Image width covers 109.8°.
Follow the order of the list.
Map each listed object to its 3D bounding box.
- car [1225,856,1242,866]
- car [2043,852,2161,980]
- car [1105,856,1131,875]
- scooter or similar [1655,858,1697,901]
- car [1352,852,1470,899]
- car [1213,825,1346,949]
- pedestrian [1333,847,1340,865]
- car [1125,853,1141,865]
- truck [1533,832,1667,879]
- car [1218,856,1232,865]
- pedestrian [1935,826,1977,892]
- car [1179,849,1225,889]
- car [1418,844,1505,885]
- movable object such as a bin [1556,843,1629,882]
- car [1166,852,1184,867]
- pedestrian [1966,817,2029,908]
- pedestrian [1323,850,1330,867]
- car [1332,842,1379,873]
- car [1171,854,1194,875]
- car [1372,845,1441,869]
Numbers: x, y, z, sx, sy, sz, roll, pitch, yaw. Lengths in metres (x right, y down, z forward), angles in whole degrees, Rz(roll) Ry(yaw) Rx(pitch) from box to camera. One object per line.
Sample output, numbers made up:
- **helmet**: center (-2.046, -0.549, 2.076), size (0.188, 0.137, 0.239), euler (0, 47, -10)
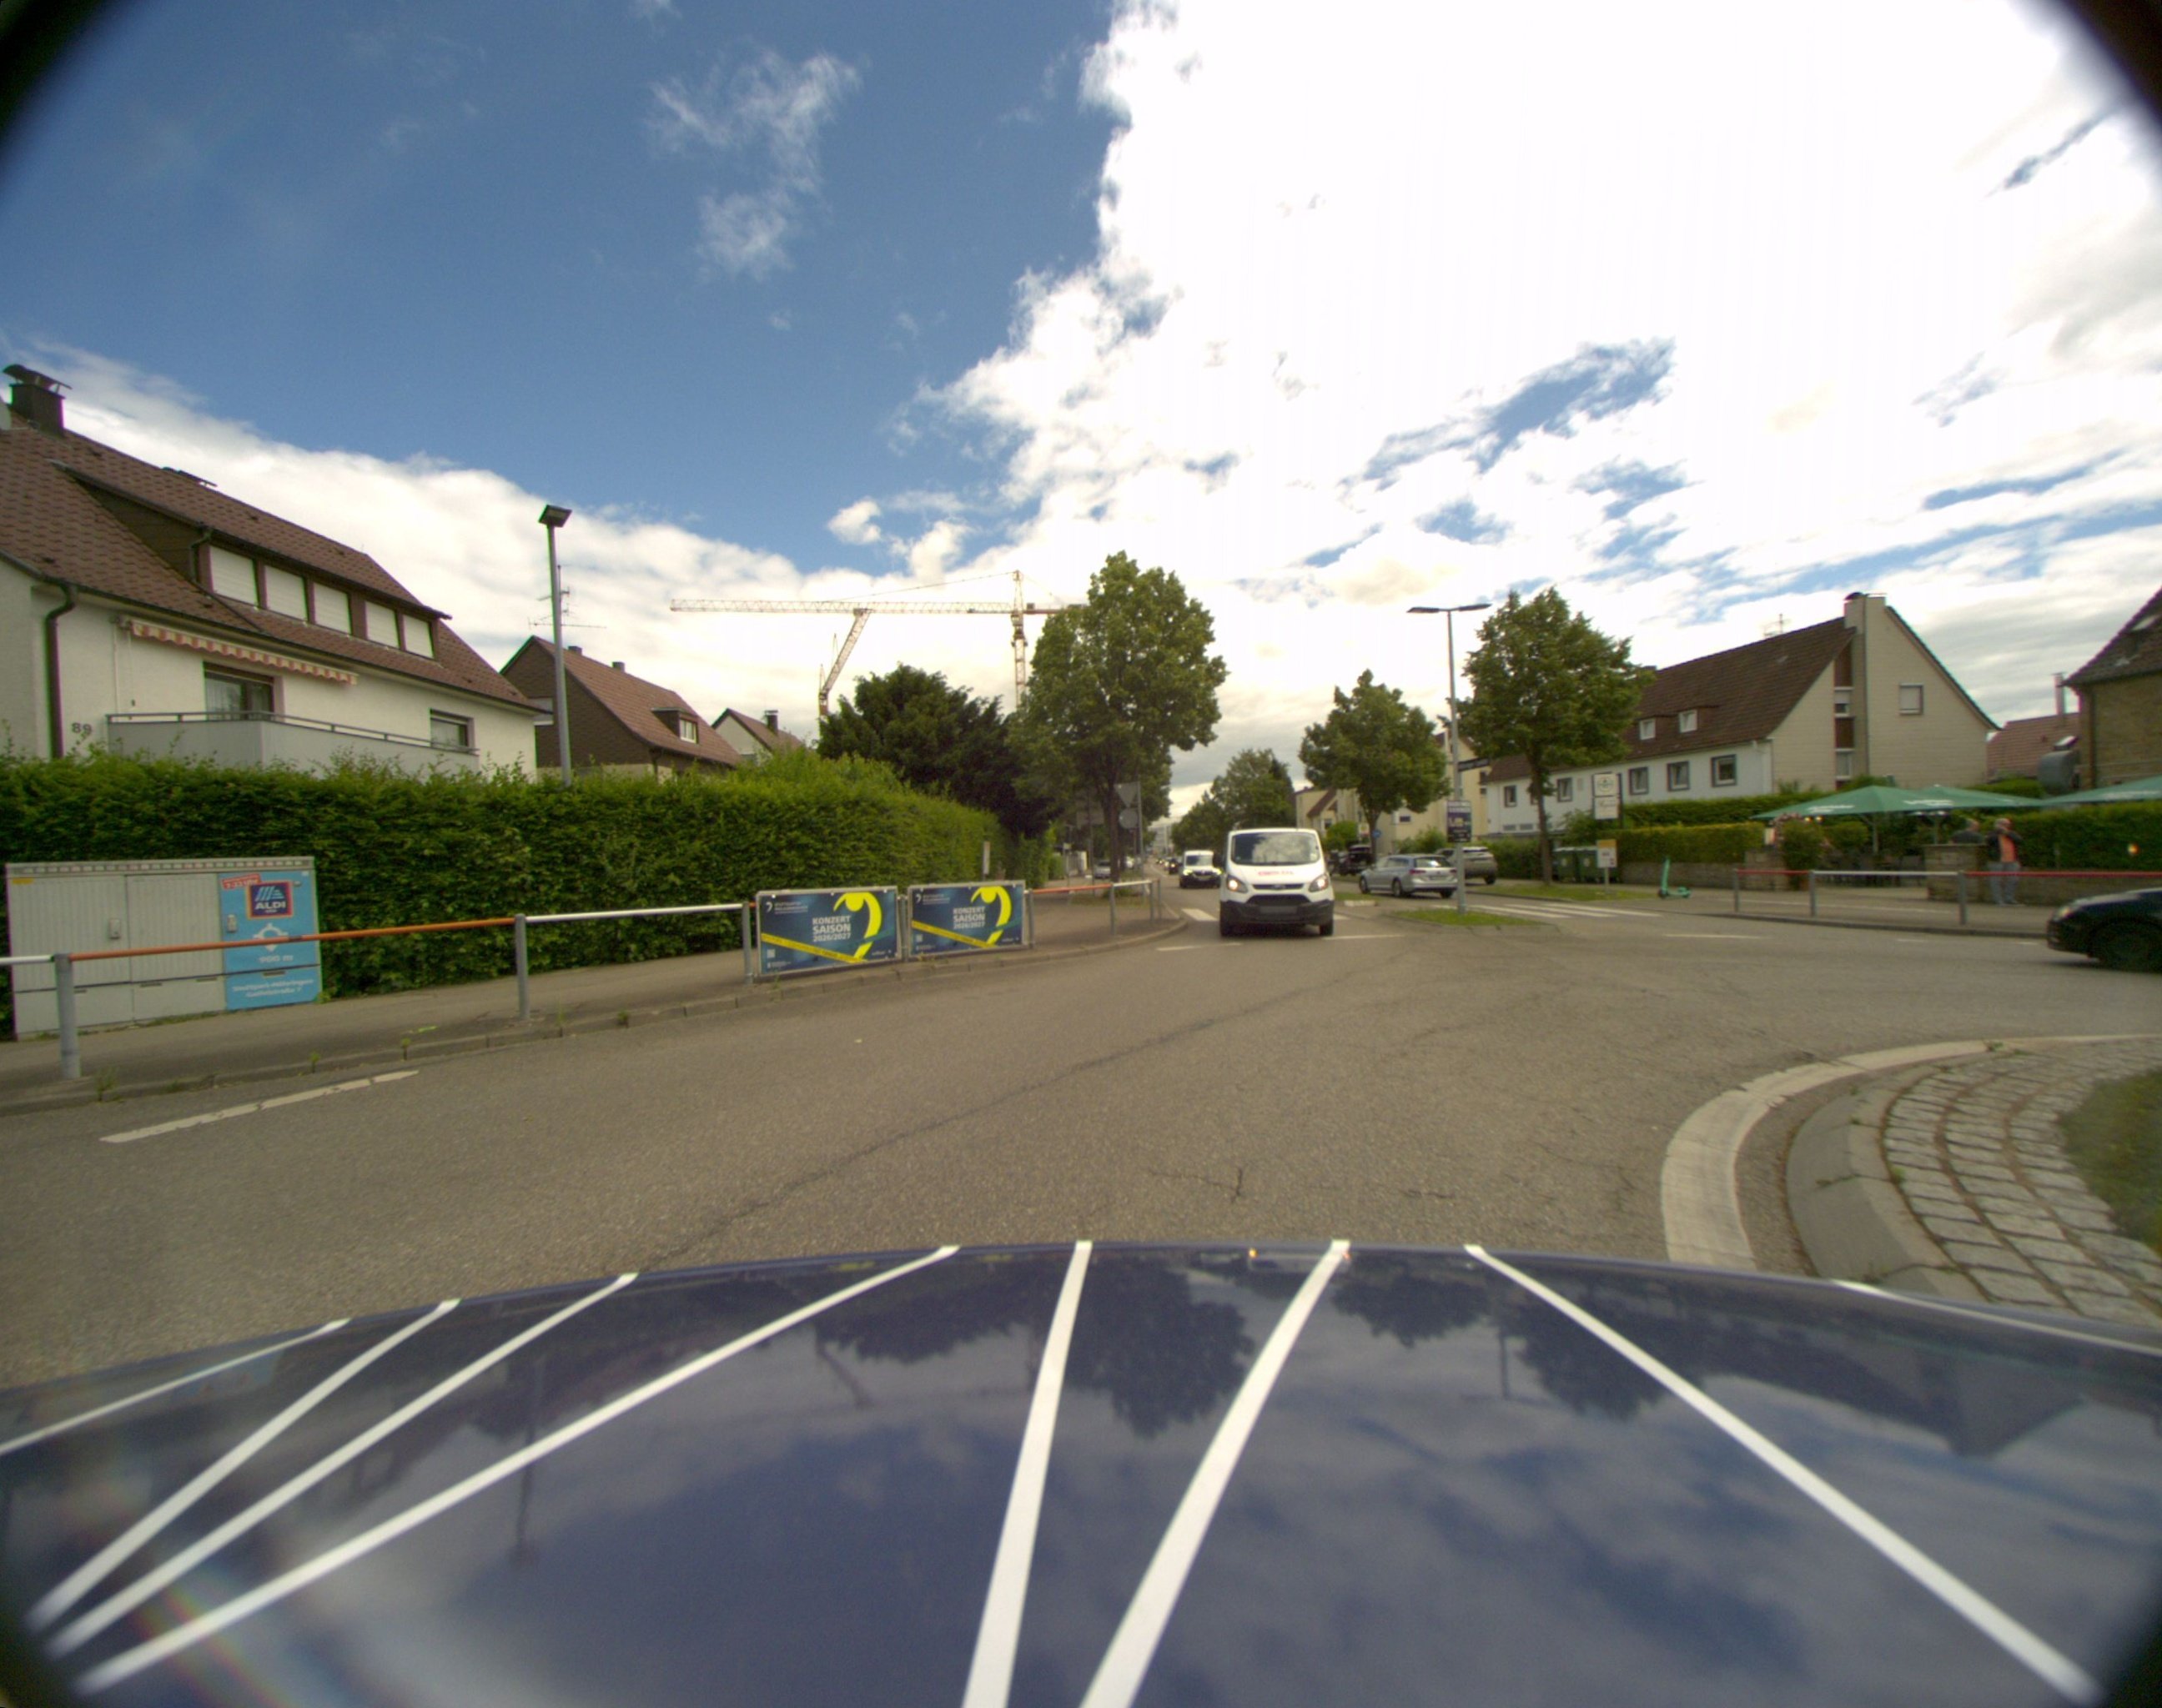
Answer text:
- **car**: center (19.247, 0.877, 95.951), size (1.497, 1.159, 3.195), euler (-2, 0, 2)
- **car**: center (12.654, 0.672, 7.282), size (1.541, 1.367, 3.975), euler (0, 0, -13)
- **car**: center (2.937, 0.878, 58.949), size (1.810, 1.334, 4.002), euler (-2, 0, 5)
- **scooter or similar**: center (16.249, 0.696, 20.751), size (1.049, 1.124, 0.381), euler (-2, 1, -19)
- **car**: center (11.228, 0.695, 26.253), size (1.806, 1.446, 4.691), euler (-1, 0, -3)
- **car**: center (3.686, 0.548, 14.993), size (1.997, 2.002, 5.053), euler (-2, 0, 9)
- **pedestrian**: center (20.055, 0.141, 59.538), size (0.386, 1.357, 0.413), euler (-2, 0, 5)
- **car**: center (6.553, 0.630, 95.143), size (1.810, 1.334, 4.002), euler (-2, 0, 5)
- **truck**: center (22.310, 0.063, 32.782), size (4.498, 1.839, 1.865), euler (-2, 0, -2)
- **car**: center (20.666, 0.988, 108.982), size (1.497, 1.220, 3.195), euler (-2, 0, 2)
- **pedestrian**: center (23.321, 0.131, 20.260), size (0.489, 1.717, 0.567), euler (-2, 1, 19)
- **car**: center (5.771, 0.669, 36.702), size (1.925, 1.744, 4.002), euler (-2, 0, 6)
- **car**: center (16.385, 0.445, 32.935), size (1.751, 1.626, 4.048), euler (-2, 0, 1)
- **movable object such as a bin**: center (19.797, 0.329, 29.510), size (0.984, 1.408, 2.722), euler (-2, 0, 1)
- **car**: center (10.868, 0.591, 87.952), size (1.824, 1.658, 4.002), euler (-2, 0, 6)
- **pedestrian**: center (18.842, 0.165, 15.623), size (0.638, 1.816, 0.566), euler (-3, 0, -16)
- **pedestrian**: center (19.479, 0.338, 60.368), size (0.386, 1.357, 0.413), euler (-2, 0, 5)
- **car**: center (17.278, 0.200, 48.044), size (1.750, 1.819, 4.049), euler (-2, 0, 5)
- **car**: center (8.924, 0.887, 66.917), size (1.824, 1.658, 4.002), euler (-2, 0, 6)
- **car**: center (22.840, 0.189, 53.398), size (4.045, 1.530, 1.752), euler (-2, 0, -2)
